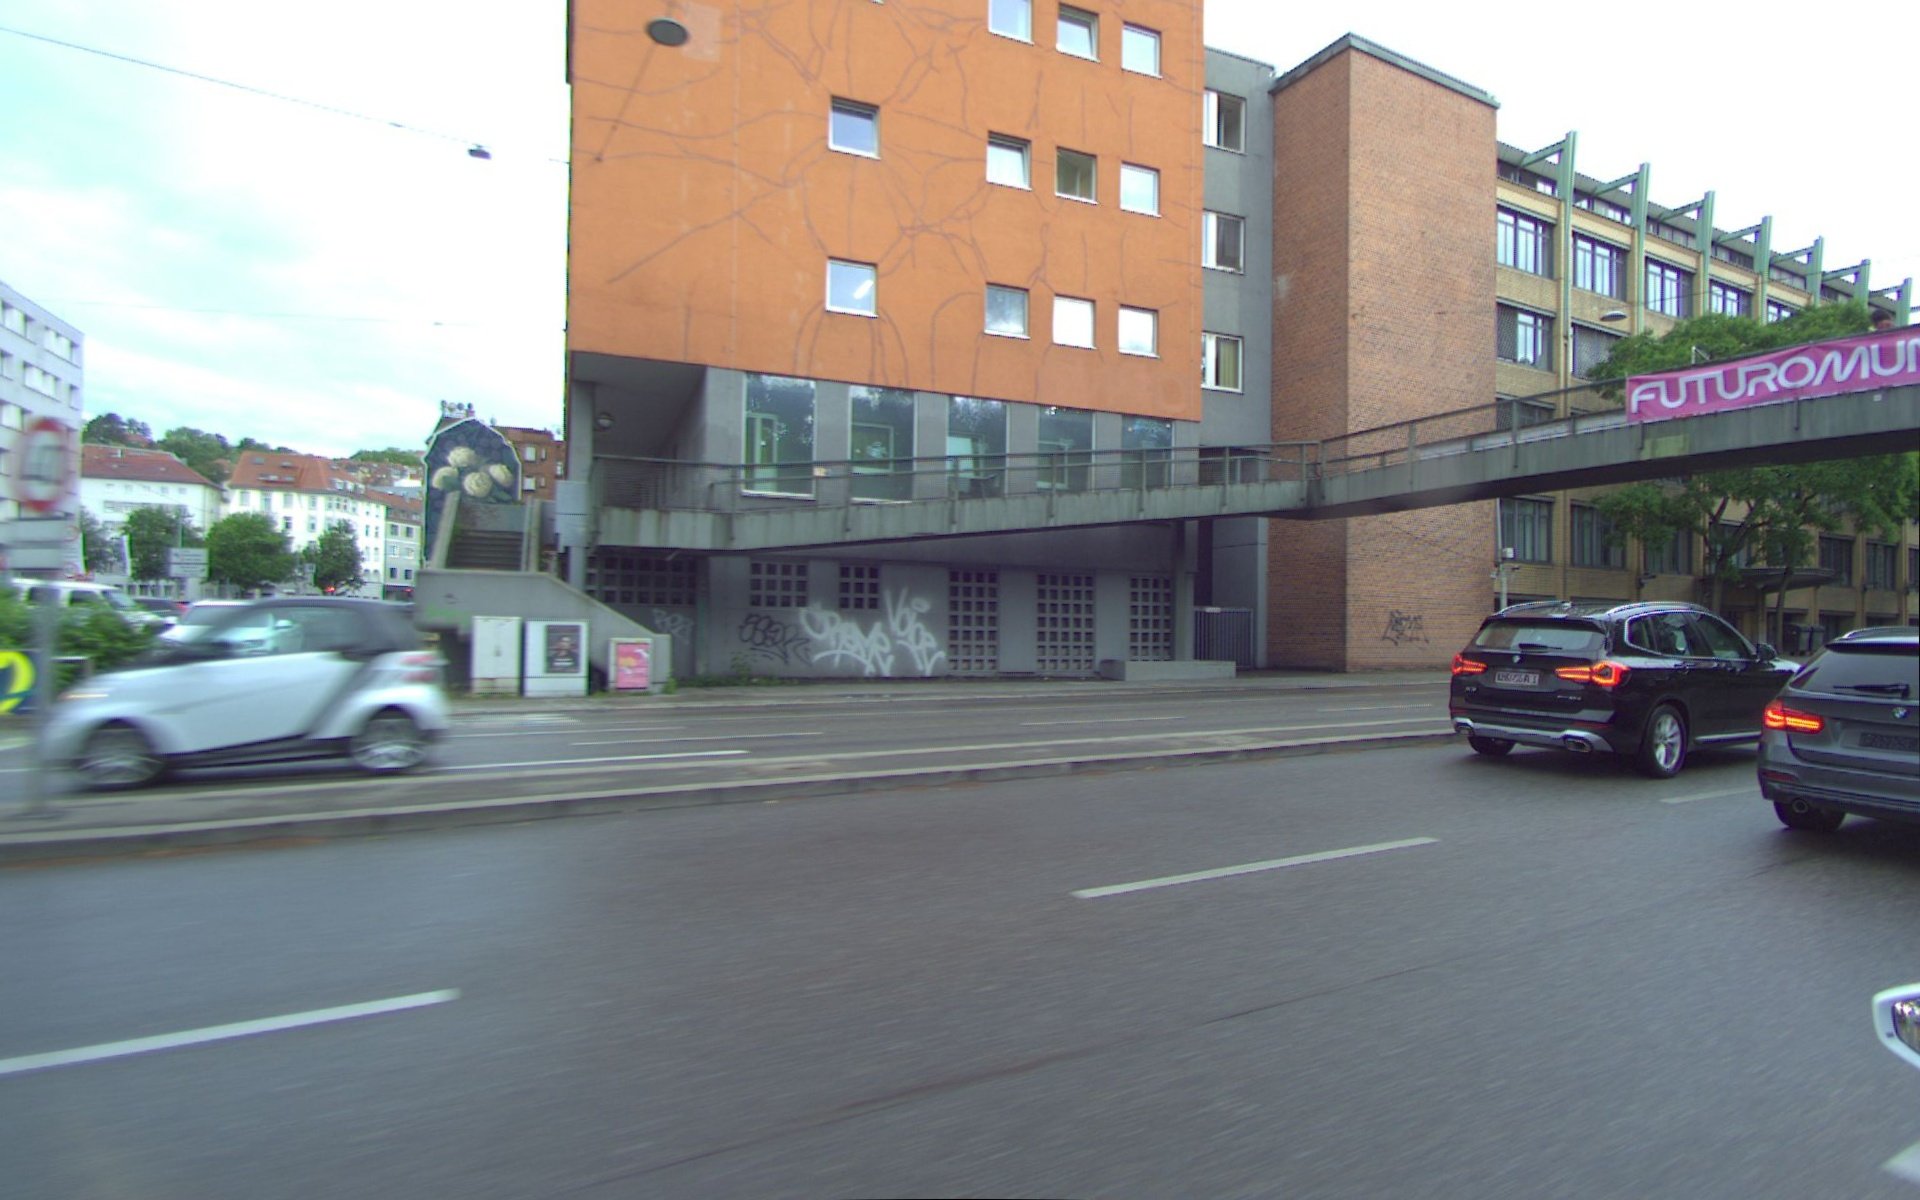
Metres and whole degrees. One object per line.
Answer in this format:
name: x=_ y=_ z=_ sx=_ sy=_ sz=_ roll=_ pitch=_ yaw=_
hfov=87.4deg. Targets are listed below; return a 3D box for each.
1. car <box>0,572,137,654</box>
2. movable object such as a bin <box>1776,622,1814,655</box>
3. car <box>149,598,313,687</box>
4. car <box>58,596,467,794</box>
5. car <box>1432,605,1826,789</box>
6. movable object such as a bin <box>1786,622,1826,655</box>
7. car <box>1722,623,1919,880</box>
car: x=-24.106 y=0.330 z=25.909 sx=4.084 sy=2.040 sz=1.986 roll=1 pitch=-1 yaw=-28
movable object such as a bin: x=37.375 y=1.711 z=44.974 sx=1.300 sy=1.455 sz=0.967 roll=0 pitch=0 yaw=-34
car: x=-15.105 y=0.817 z=21.072 sx=1.909 sy=1.647 sz=4.280 roll=1 pitch=-1 yaw=-24
car: x=-5.901 y=0.745 z=8.876 sx=2.734 sy=1.497 sz=1.516 roll=1 pitch=-1 yaw=-26
car: x=7.155 y=0.894 z=10.646 sx=4.360 sy=1.607 sz=1.749 roll=1 pitch=-1 yaw=-30
movable object such as a bin: x=38.492 y=1.735 z=45.715 sx=1.358 sy=1.455 sz=1.061 roll=0 pitch=0 yaw=-34
car: x=7.377 y=0.923 z=6.985 sx=4.360 sy=1.452 sz=1.749 roll=1 pitch=0 yaw=-30
